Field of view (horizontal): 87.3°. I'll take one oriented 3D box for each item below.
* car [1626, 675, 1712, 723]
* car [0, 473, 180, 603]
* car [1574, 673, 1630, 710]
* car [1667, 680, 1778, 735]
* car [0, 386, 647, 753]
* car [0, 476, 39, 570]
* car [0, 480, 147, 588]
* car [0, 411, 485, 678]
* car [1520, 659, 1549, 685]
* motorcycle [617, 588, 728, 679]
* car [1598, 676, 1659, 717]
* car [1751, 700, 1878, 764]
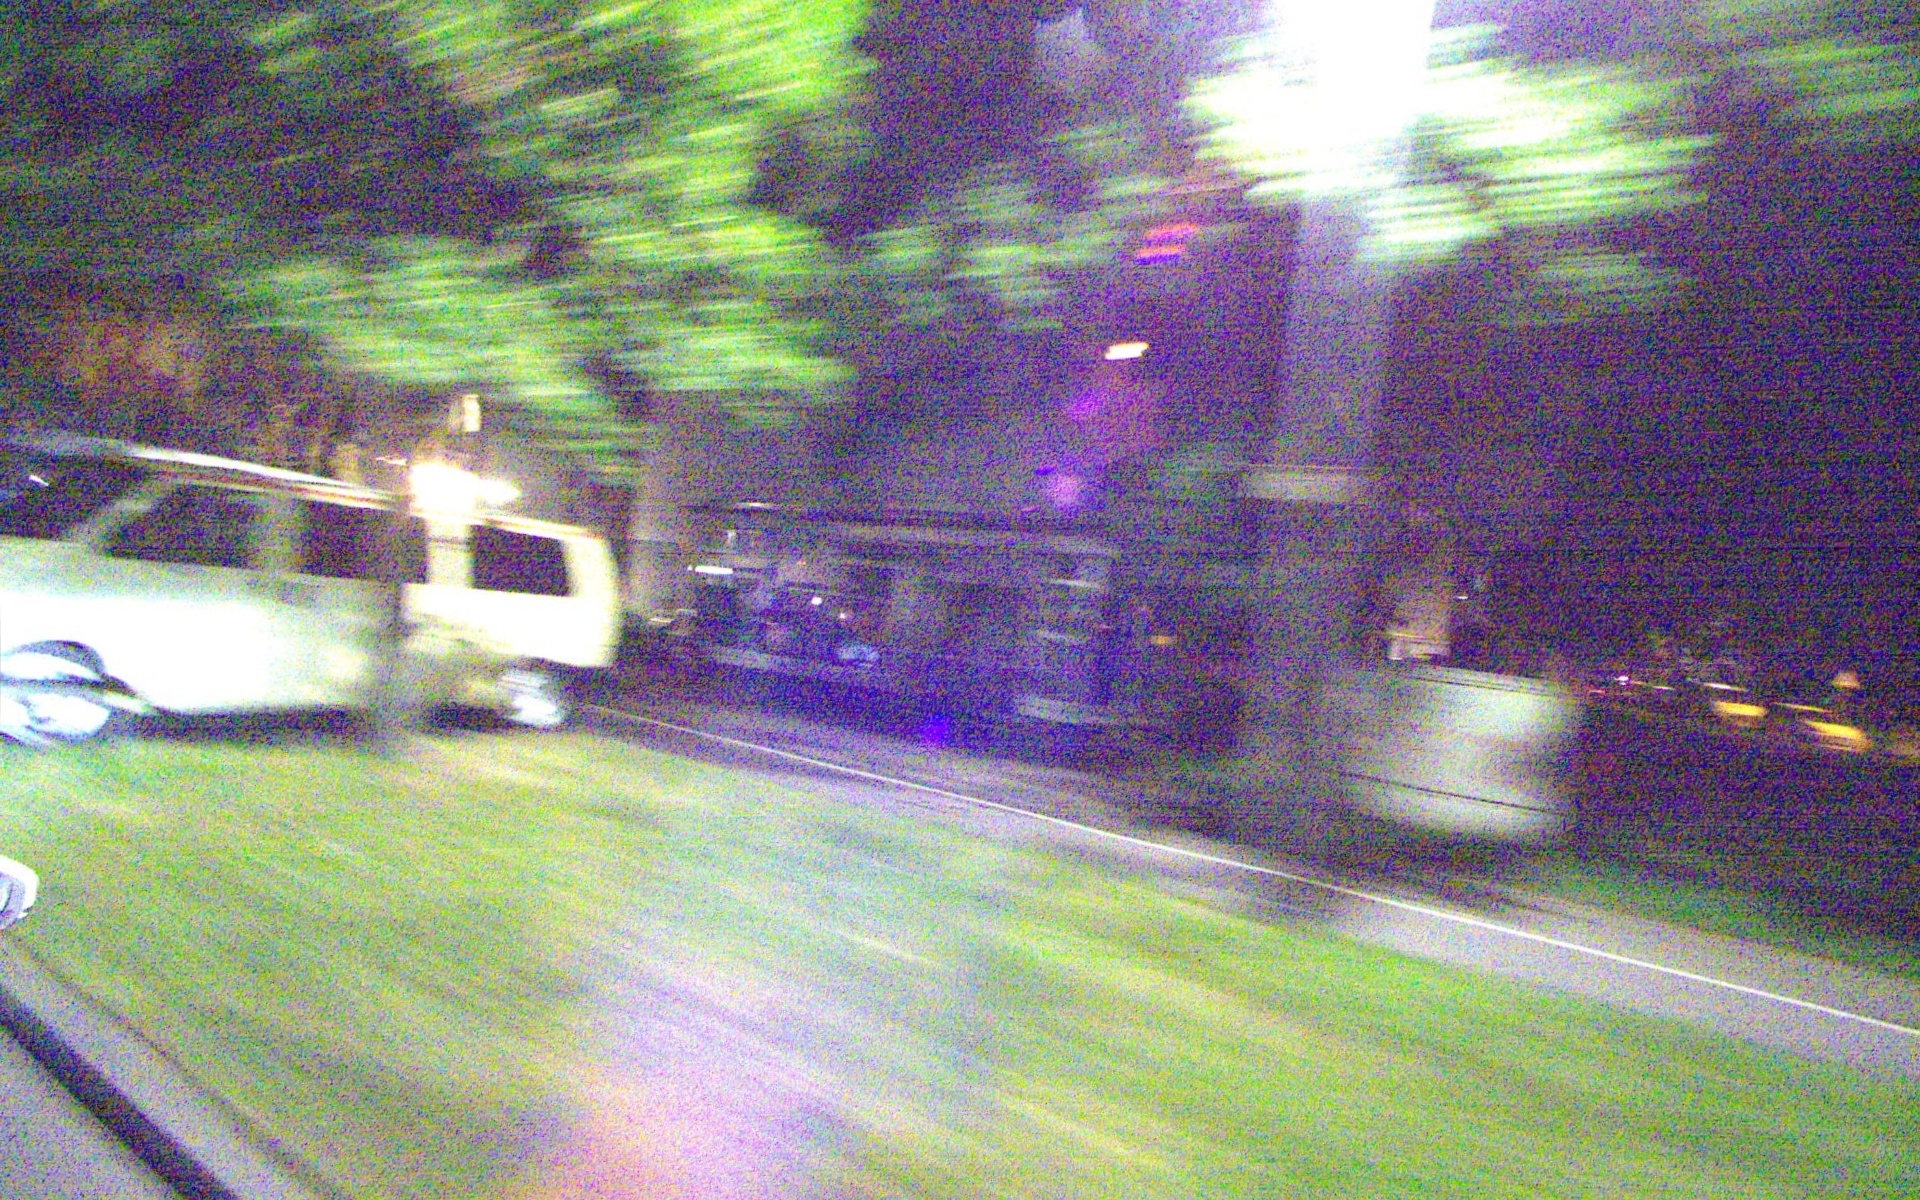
[{"bbox_3d":[32.143,4.456,45.736,1.546,1.691,4.099,8,0,13],"label":"car"},{"bbox_3d":[-14.279,-1.070,13.790,2.066,1.613,5.191,7,-1,30],"label":"car"},{"bbox_3d":[35.870,5.104,56.286,1.374,1.691,2.926,8,0,9],"label":"car"},{"bbox_3d":[31.325,4.383,41.497,1.805,1.691,4.415,8,0,13],"label":"car"},{"bbox_3d":[-5.249,-0.117,7.814,2.066,2.038,5.191,7,0,30],"label":"car"},{"bbox_3d":[-18.924,-1.649,16.488,2.066,1.613,5.191,7,-1,30],"label":"car"},{"bbox_3d":[-16.419,-1.290,15.815,2.066,1.543,5.191,7,-1,30],"label":"car"},{"bbox_3d":[-7.646,-0.445,9.636,2.066,2.038,5.191,7,0,30],"label":"car"},{"bbox_3d":[44.200,5.525,77.343,1.513,1.691,2.870,8,0,35],"label":"car"},{"bbox_3d":[-5.461,0.594,18.961,1.064,1.342,2.681,9,-1,-34],"label":"motorcycle"},{"bbox_3d":[34.194,4.901,51.563,1.434,1.691,3.473,8,0,16],"label":"car"},{"bbox_3d":[30.363,4.642,35.884,1.636,1.691,3.431,8,0,6],"label":"car"}]
